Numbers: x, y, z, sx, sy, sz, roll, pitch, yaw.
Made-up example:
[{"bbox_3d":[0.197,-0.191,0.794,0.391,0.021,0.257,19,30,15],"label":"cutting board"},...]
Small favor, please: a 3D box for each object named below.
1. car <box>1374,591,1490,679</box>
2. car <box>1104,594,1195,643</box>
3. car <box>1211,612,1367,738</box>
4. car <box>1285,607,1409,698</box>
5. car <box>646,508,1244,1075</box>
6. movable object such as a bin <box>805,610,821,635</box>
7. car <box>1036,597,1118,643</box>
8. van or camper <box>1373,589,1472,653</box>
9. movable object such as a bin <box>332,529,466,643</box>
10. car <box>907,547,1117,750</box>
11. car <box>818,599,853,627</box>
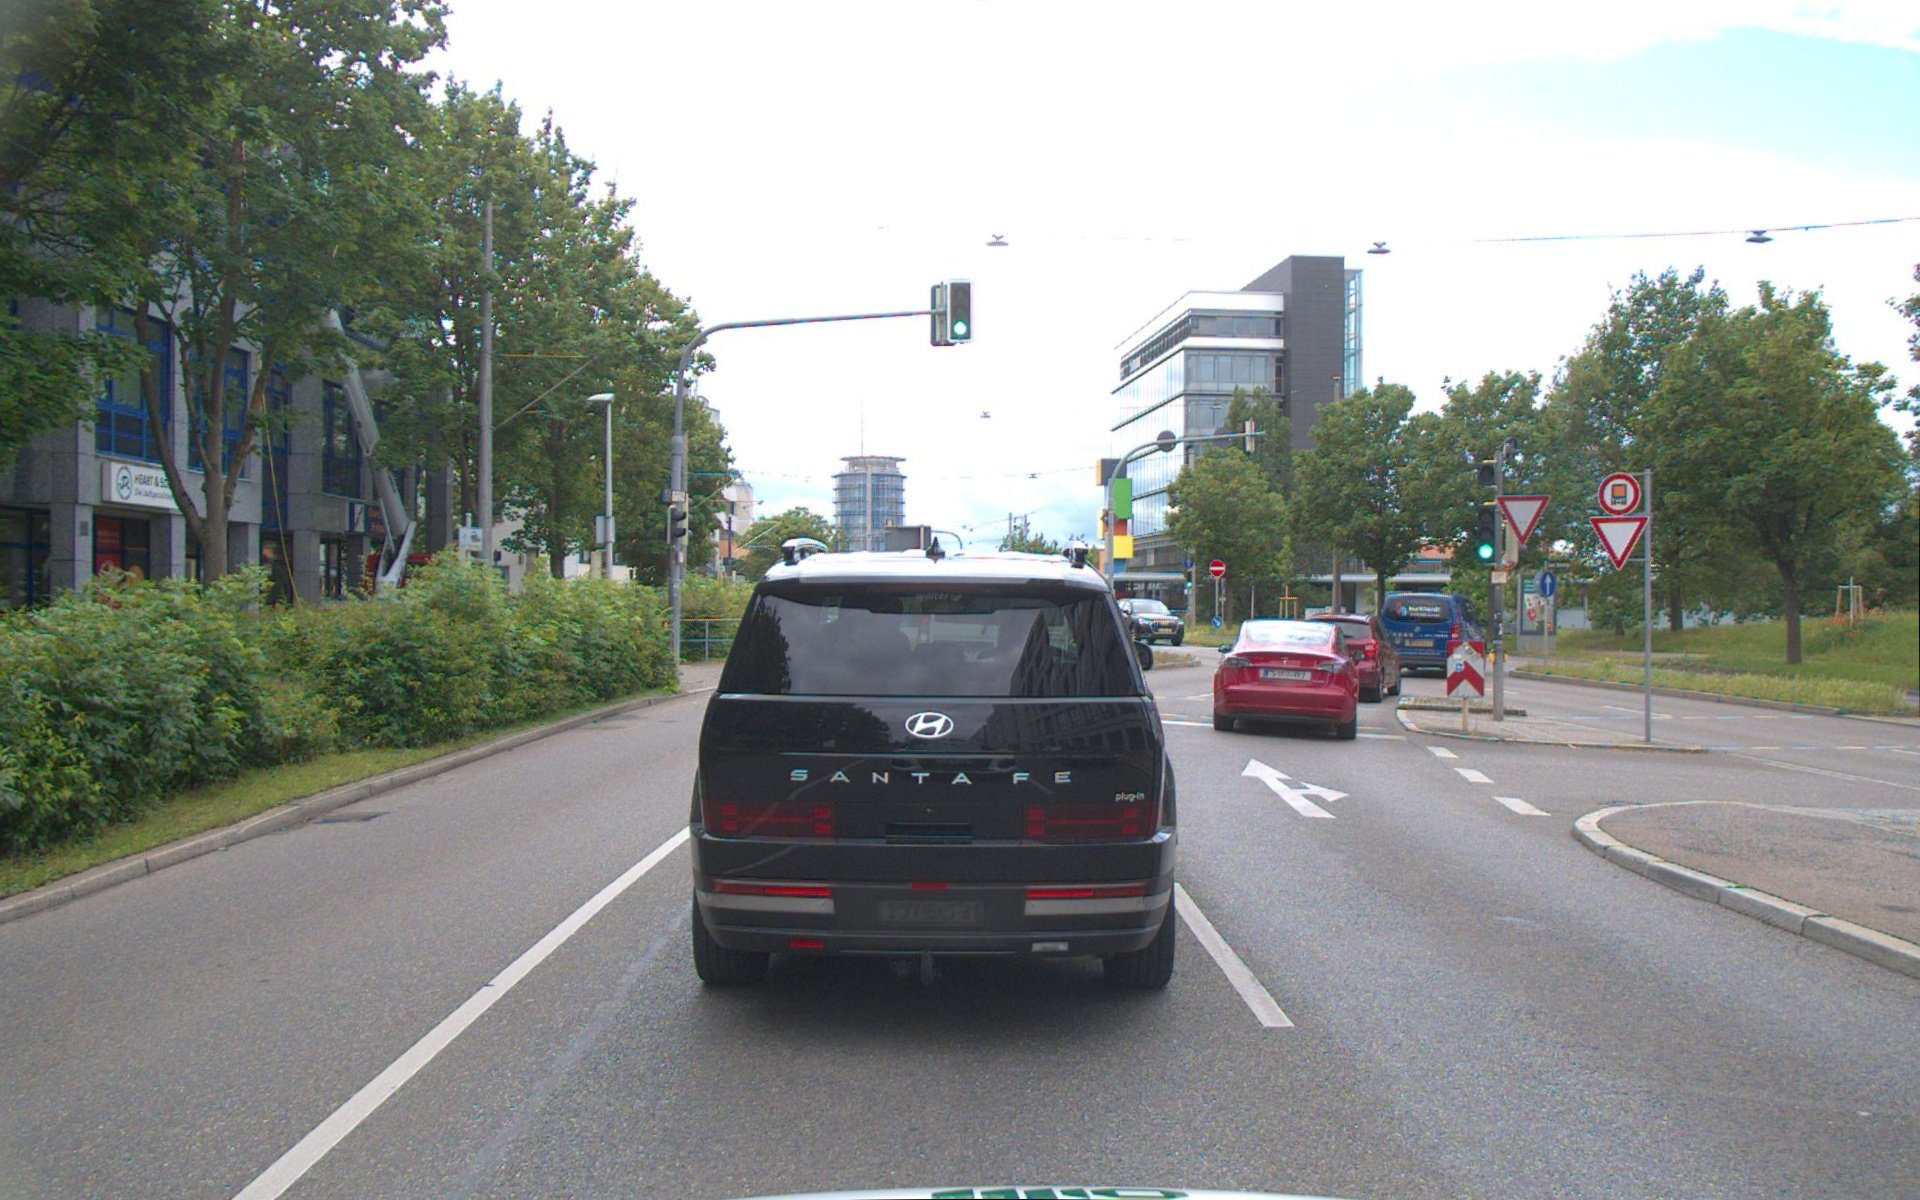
[{"bbox_3d":[11.238,0.803,39.138,1.864,1.891,4.705,2,0,25],"label":"car"},{"bbox_3d":[6.788,0.630,59.782,1.856,1.592,4.381,2,1,-13],"label":"car"},{"bbox_3d":[4.525,0.920,22.293,1.833,1.443,4.446,2,0,14],"label":"car"},{"bbox_3d":[7.160,0.916,30.384,1.709,1.507,3.719,1,0,21],"label":"car"},{"bbox_3d":[-0.075,0.611,7.517,1.863,1.762,4.445,2,0,-1],"label":"car"},{"bbox_3d":[-6.079,0.923,68.349,0.553,1.030,0.836,1,0,-11],"label":"movable object such as a bin"},{"bbox_3d":[4.095,0.667,58.414,1.751,1.450,4.384,2,1,-11],"label":"car"},{"bbox_3d":[15.118,0.640,54.278,1.953,1.951,4.409,1,1,0],"label":"van or camper"},{"bbox_3d":[-13.580,-0.332,40.272,1.866,2.575,4.126,2,0,-2],"label":"movable object such as a bin"},{"bbox_3d":[0.741,0.492,19.106,1.861,2.003,4.639,2,0,8],"label":"car"},{"bbox_3d":[-7.666,0.782,101.495,1.750,1.564,4.387,2,1,-9],"label":"car"}]
